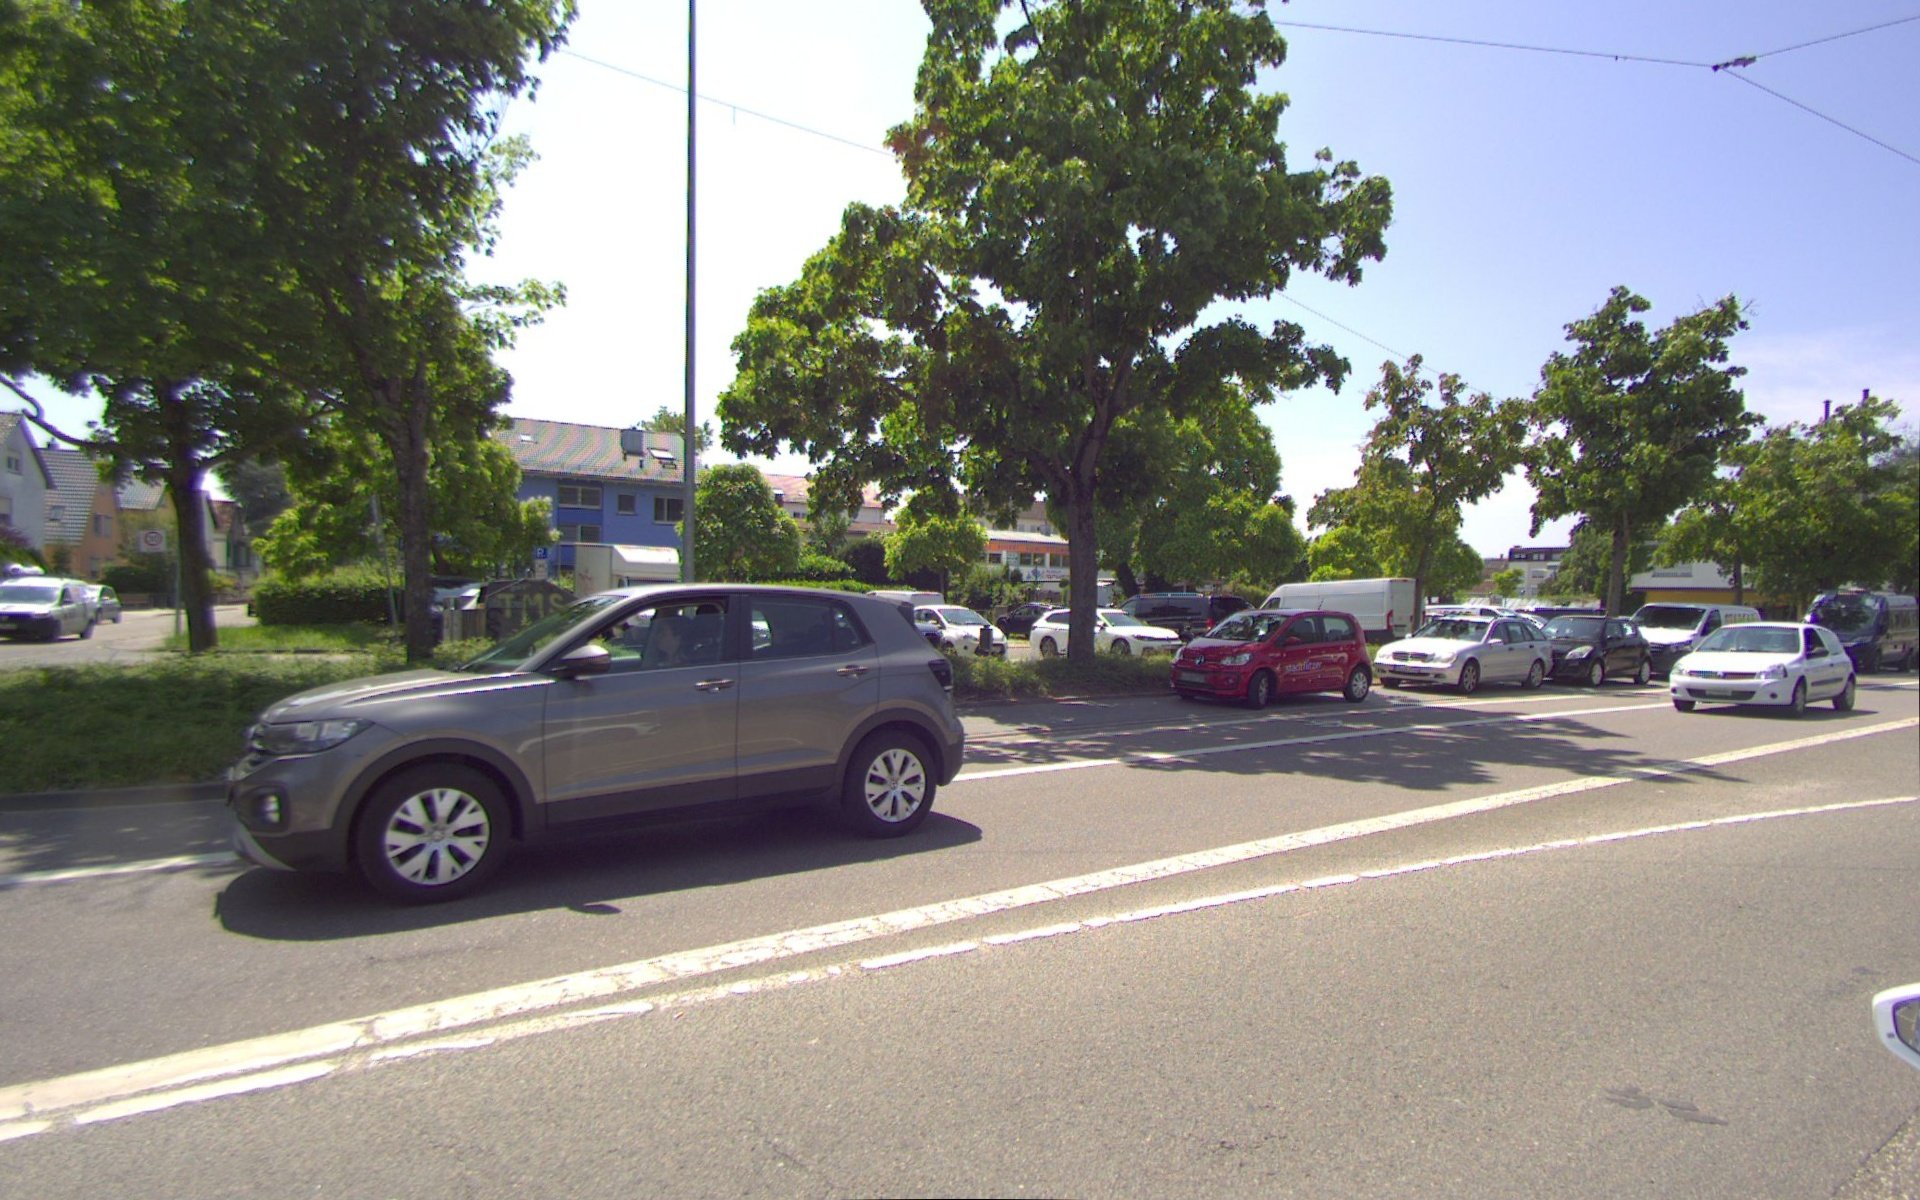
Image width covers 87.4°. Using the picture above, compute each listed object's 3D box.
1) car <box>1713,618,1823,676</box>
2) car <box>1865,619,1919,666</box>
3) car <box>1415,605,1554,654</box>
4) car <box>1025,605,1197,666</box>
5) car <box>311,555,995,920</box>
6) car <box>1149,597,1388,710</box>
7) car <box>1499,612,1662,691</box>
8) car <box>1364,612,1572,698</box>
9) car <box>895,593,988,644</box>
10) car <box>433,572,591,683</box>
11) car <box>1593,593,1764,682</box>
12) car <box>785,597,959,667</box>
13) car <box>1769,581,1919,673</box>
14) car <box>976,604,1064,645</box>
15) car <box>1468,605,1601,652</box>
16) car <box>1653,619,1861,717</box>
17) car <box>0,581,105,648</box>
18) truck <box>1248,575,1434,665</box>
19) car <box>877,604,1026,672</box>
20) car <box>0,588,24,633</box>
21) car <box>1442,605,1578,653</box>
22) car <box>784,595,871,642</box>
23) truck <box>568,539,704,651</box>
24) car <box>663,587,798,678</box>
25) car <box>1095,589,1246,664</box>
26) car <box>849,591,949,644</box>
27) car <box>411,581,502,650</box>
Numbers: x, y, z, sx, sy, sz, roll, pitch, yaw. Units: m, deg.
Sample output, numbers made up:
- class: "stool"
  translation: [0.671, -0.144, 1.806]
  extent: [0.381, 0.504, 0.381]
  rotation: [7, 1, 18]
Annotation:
- class: "car"
  translation: [23.424, 1.321, 29.075]
  extent: [3.801, 1.459, 1.395]
  rotation: [1, 4, -35]
- class: "car"
  translation: [34.798, 1.532, 36.960]
  extent: [3.984, 1.543, 1.303]
  rotation: [1, 4, -35]
- class: "car"
  translation: [21.183, 1.148, 40.753]
  extent: [1.779, 1.837, 4.685]
  rotation: [1, 0, -36]
- class: "car"
  translation: [4.102, 0.934, 28.095]
  extent: [2.038, 1.508, 4.728]
  rotation: [1, 0, -36]
- class: "car"
  translation: [-1.760, 0.639, 6.181]
  extent: [3.677, 1.596, 1.726]
  rotation: [1, -1, -36]
- class: "car"
  translation: [4.984, 0.822, 16.131]
  extent: [3.687, 1.567, 1.662]
  rotation: [2, 1, -33]
- class: "car"
  translation: [13.935, 1.113, 22.523]
  extent: [3.744, 1.504, 1.604]
  rotation: [1, 4, -33]
- class: "car"
  translation: [10.234, 1.033, 20.094]
  extent: [4.725, 1.446, 1.706]
  rotation: [1, 2, -36]
- class: "car"
  translation: [-0.794, 0.712, 40.138]
  extent: [1.723, 1.845, 4.099]
  rotation: [1, 1, -35]
- class: "car"
  translation: [-8.767, 0.469, 19.429]
  extent: [2.040, 1.881, 4.420]
  rotation: [1, 0, -34]
- class: "car"
  translation: [18.404, 0.935, 25.663]
  extent: [4.754, 1.963, 1.851]
  rotation: [1, 4, -33]
- class: "car"
  translation: [-2.124, 0.676, 23.290]
  extent: [2.063, 1.422, 4.162]
  rotation: [1, 0, -39]
- class: "car"
  translation: [29.710, 0.882, 33.622]
  extent: [6.112, 2.692, 2.382]
  rotation: [1, 4, -36]
- class: "car"
  translation: [2.452, 0.995, 42.147]
  extent: [1.494, 1.539, 4.101]
  rotation: [1, 1, -34]
- class: "car"
  translation: [24.708, 1.197, 43.350]
  extent: [1.779, 1.837, 4.685]
  rotation: [1, 0, -36]
- class: "car"
  translation: [12.844, 1.045, 16.125]
  extent: [3.774, 1.394, 1.638]
  rotation: [2, -2, -35]
- class: "car"
  translation: [-25.558, 0.358, 27.918]
  extent: [1.718, 1.729, 4.207]
  rotation: [1, 0, -26]
- class: "truck"
  translation: [12.790, 0.605, 34.137]
  extent: [2.407, 2.796, 5.544]
  rotation: [1, 0, -33]
- class: "car"
  translation: [-0.314, 0.909, 25.499]
  extent: [1.911, 1.528, 4.098]
  rotation: [1, 0, -32]
- class: "car"
  translation: [-30.621, 0.325, 30.927]
  extent: [1.525, 1.412, 3.882]
  rotation: [1, 0, -26]
- class: "car"
  translation: [22.907, 1.183, 42.013]
  extent: [1.779, 1.837, 4.685]
  rotation: [1, 0, -36]
- class: "car"
  translation: [-5.046, 0.674, 37.834]
  extent: [1.716, 1.597, 3.721]
  rotation: [1, 1, -35]
- class: "truck"
  translation: [-10.768, -0.215, 32.917]
  extent: [2.130, 3.271, 6.927]
  rotation: [1, 1, -36]
- class: "car"
  translation: [-5.284, 0.662, 22.759]
  extent: [1.655, 1.860, 4.242]
  rotation: [1, 0, -32]
- class: "car"
  translation: [6.088, 0.727, 29.452]
  extent: [1.839, 2.022, 4.180]
  rotation: [1, 0, -36]
- class: "car"
  translation: [-2.408, 0.635, 38.570]
  extent: [1.952, 1.845, 4.099]
  rotation: [1, 1, -35]
- class: "car"
  translation: [-14.936, 0.400, 29.661]
  extent: [1.919, 1.845, 4.680]
  rotation: [1, 1, -32]
